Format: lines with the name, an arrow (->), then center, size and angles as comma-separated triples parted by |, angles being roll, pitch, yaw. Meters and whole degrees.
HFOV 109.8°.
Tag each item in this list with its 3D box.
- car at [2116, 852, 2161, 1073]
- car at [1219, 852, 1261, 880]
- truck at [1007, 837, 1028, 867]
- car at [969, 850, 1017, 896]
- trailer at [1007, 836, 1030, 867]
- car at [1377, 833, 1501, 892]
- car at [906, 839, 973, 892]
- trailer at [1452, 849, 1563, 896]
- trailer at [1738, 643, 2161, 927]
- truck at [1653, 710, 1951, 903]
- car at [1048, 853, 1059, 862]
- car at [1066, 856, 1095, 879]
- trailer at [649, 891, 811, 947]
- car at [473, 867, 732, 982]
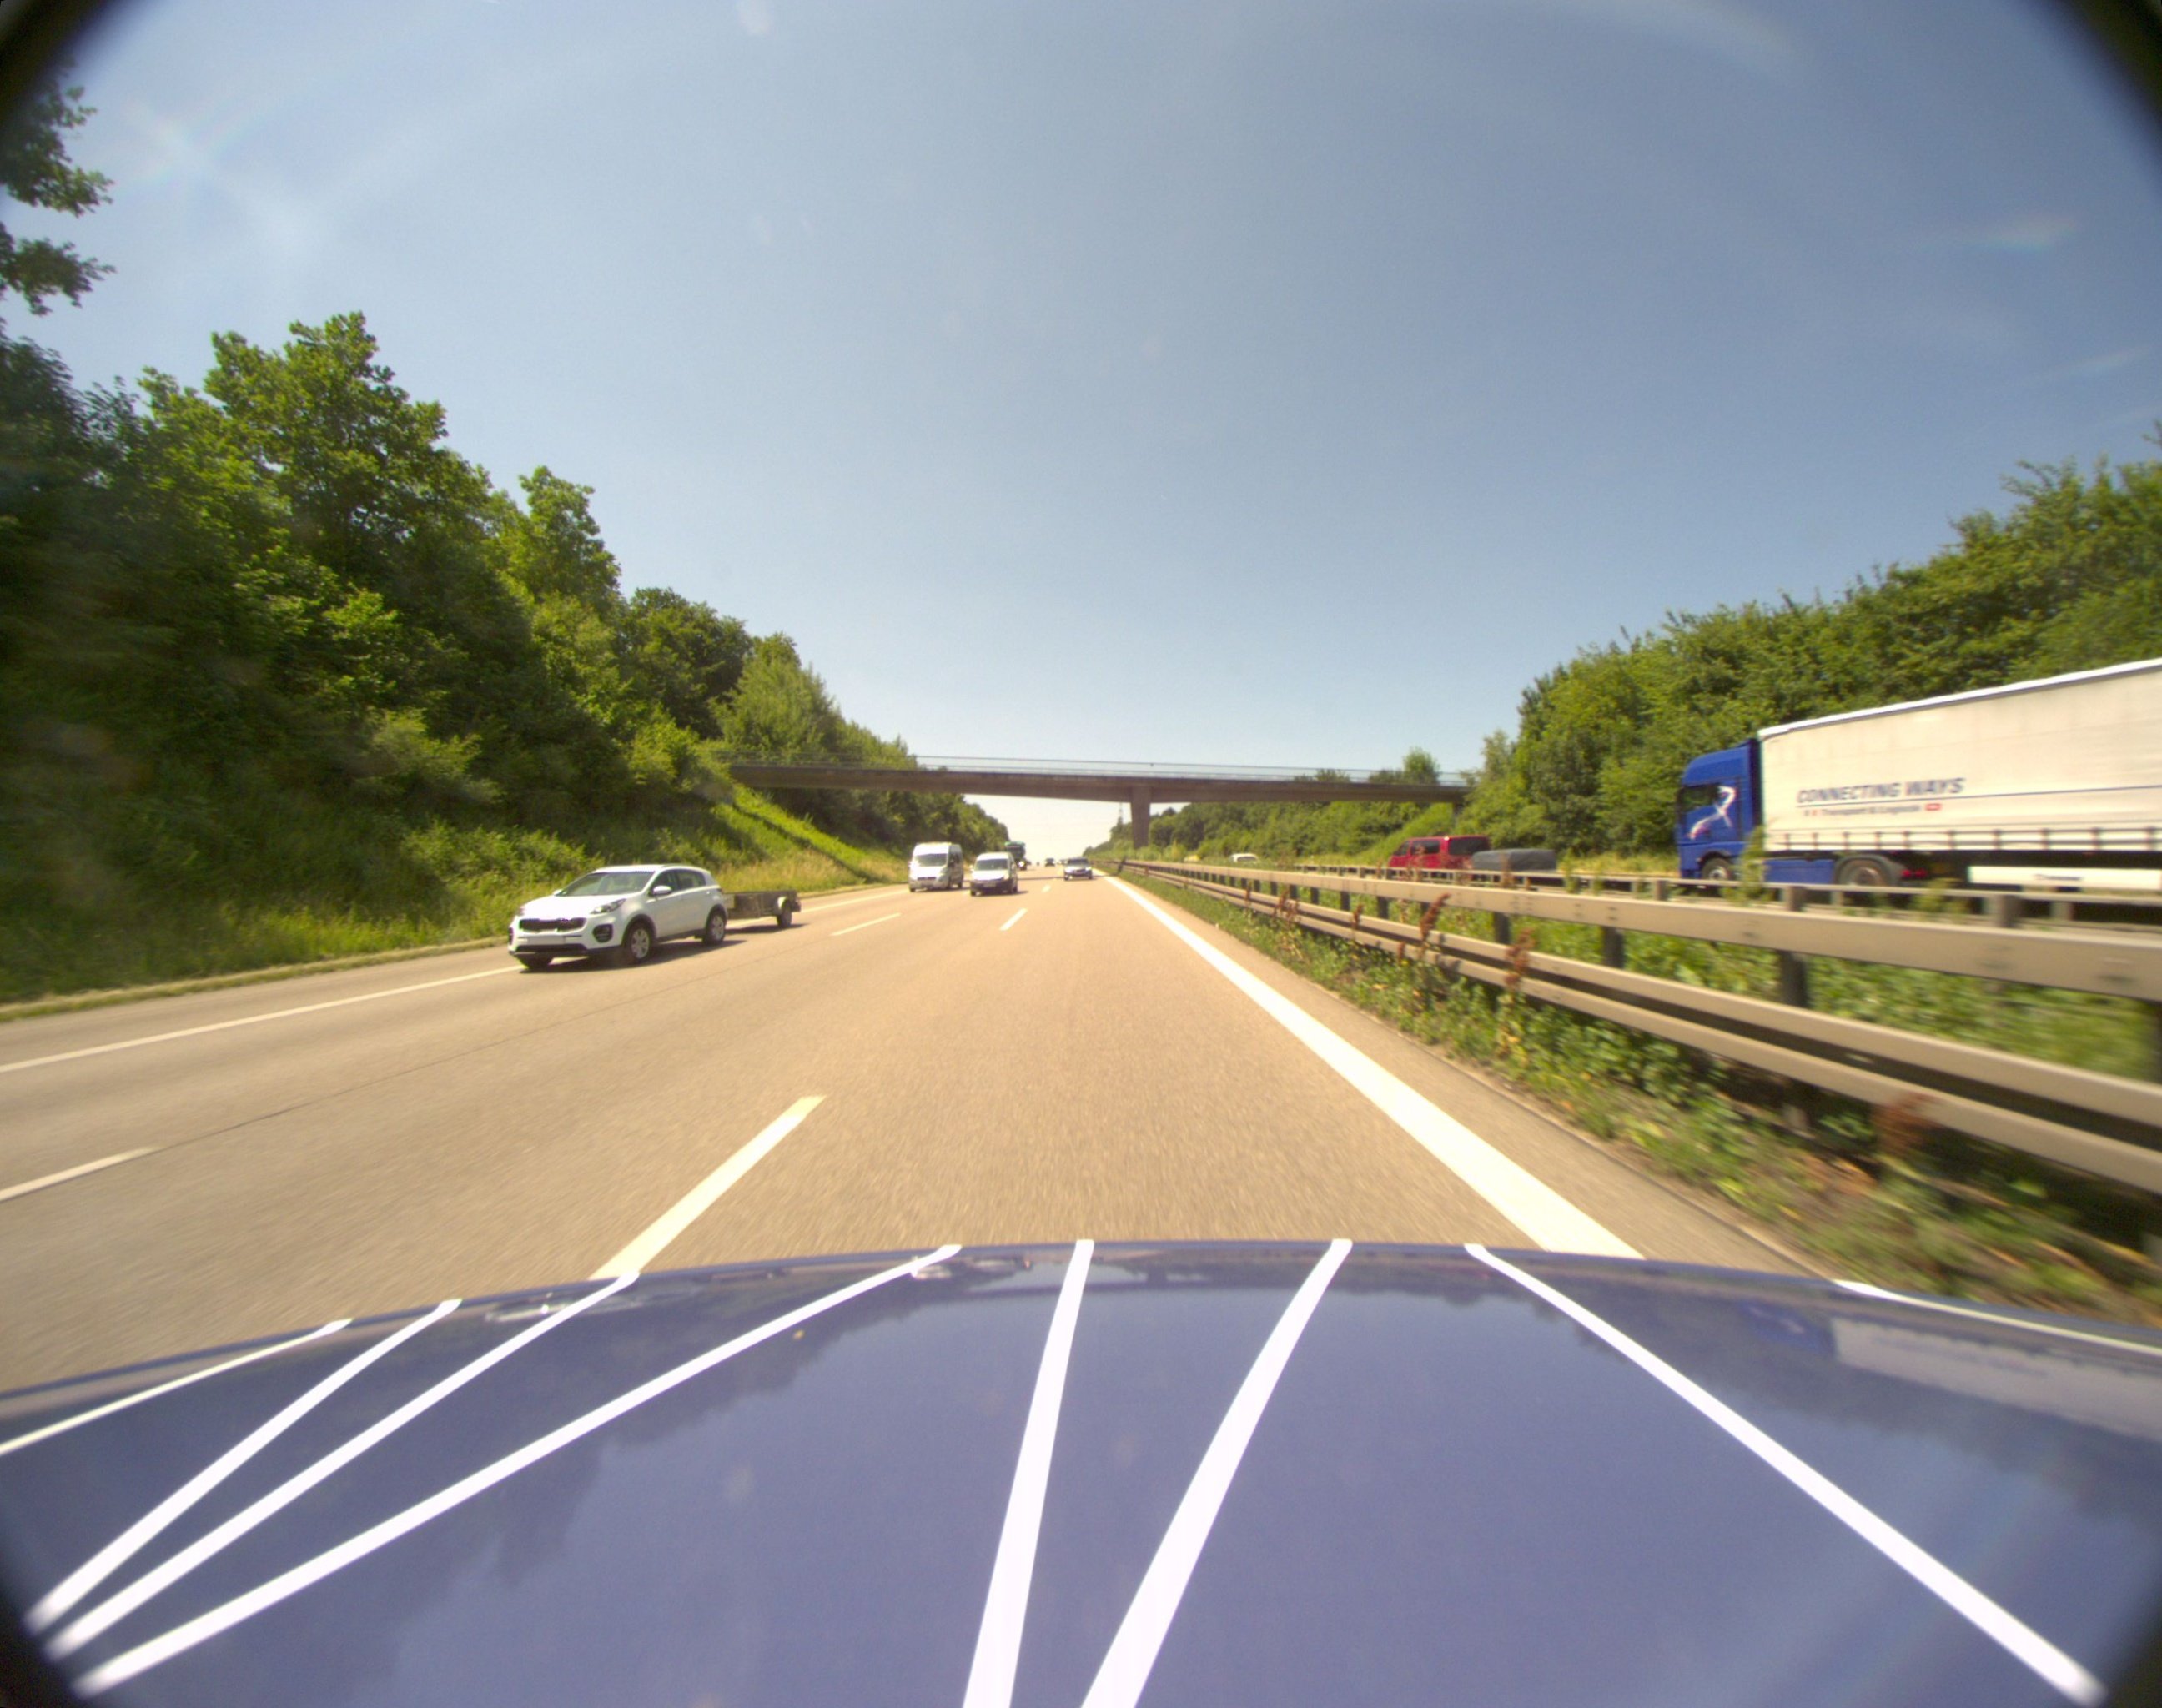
car -> 8.449, 0.703, 3.357 | 1.680, 1.545, 4.391 | -2, -1, -1
car -> 9.305, 0.707, 44.673 | 1.628, 1.480, 3.860 | -2, -1, 1
truck -> -8.302, -0.230, 99.845 | 2.517, 3.819, 4.891 | -2, -1, -4
car -> -3.818, 0.802, 33.793 | 1.750, 1.819, 4.799 | -2, 0, -3
trailer -> -8.570, -0.242, 105.202 | 2.594, 4.003, 10.469 | -2, -1, -3
car -> 12.959, 0.273, 28.019 | 1.865, 1.869, 5.824 | -2, 0, 1
car -> -7.530, 0.608, 41.215 | 2.094, 2.560, 6.623 | -2, -1, 2
trailer -> 13.025, 0.530, 23.432 | 1.597, 1.313, 3.258 | -2, 0, 1
trailer -> 17.461, -1.071, 11.337 | 2.641, 4.228, 14.678 | -2, -1, 1
truck -> 17.481, -0.988, 18.951 | 2.499, 4.094, 5.085 | -2, -1, 1
car -> -5.084, 0.680, 138.477 | 1.788, 1.550, 3.942 | -2, -1, -4
car -> -0.014, 0.859, 49.841 | 1.768, 1.400, 4.000 | -2, -1, 1
trailer -> -8.077, 1.461, 17.972 | 1.758, 0.903, 4.319 | -2, 0, 1
car -> -8.141, 1.091, 13.531 | 1.785, 1.641, 4.403 | -2, -1, 0
